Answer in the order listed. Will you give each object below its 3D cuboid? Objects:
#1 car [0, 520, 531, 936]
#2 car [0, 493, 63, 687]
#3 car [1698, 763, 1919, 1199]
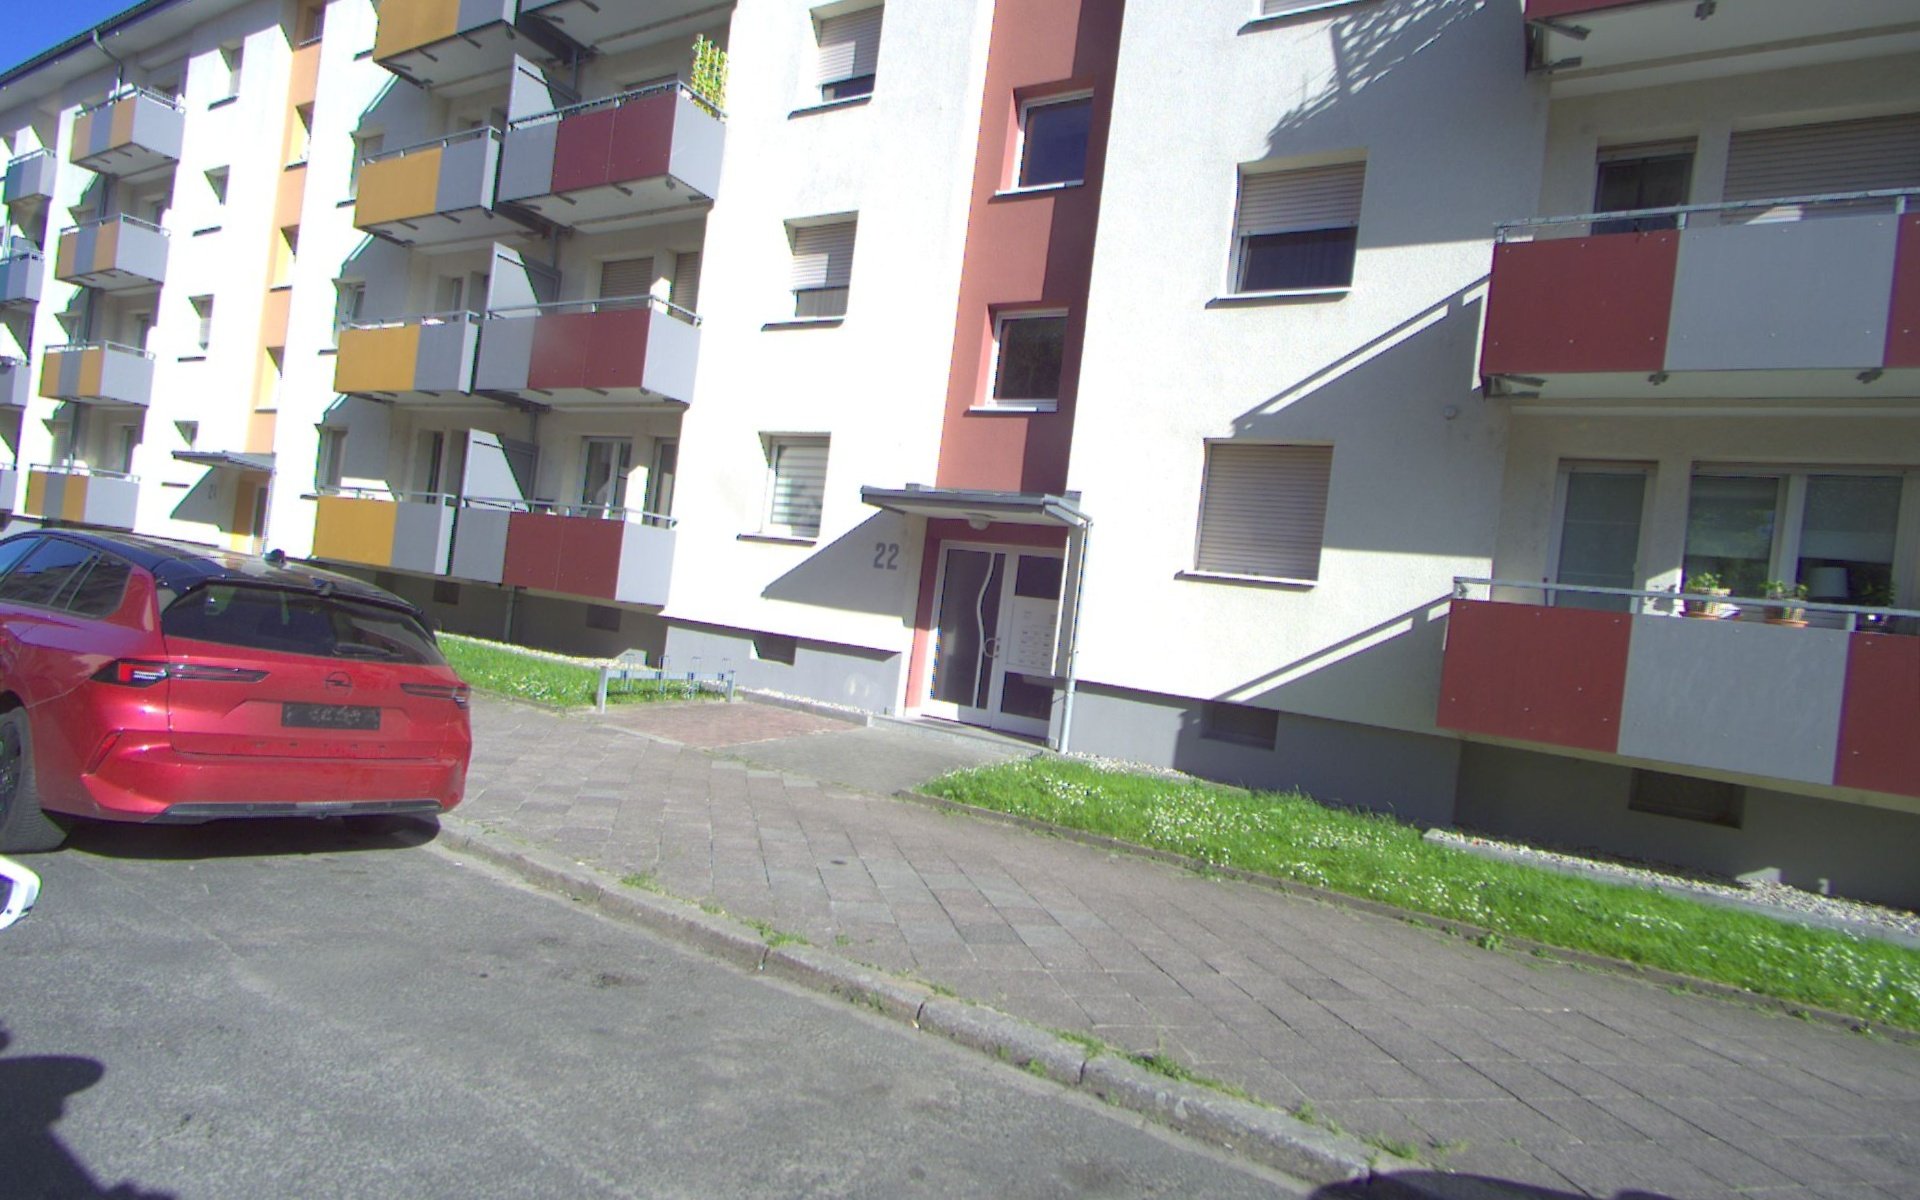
[{"bbox_3d":[-4.621,0.399,5.677,4.449,1.461,1.755,6,-1,33],"label":"car"},{"bbox_3d":[-10.484,-0.378,9.213,4.524,1.639,1.905,6,-4,30],"label":"car"},{"bbox_3d":[3.259,1.267,0.824,4.010,1.498,1.757,6,-2,29],"label":"car"}]
